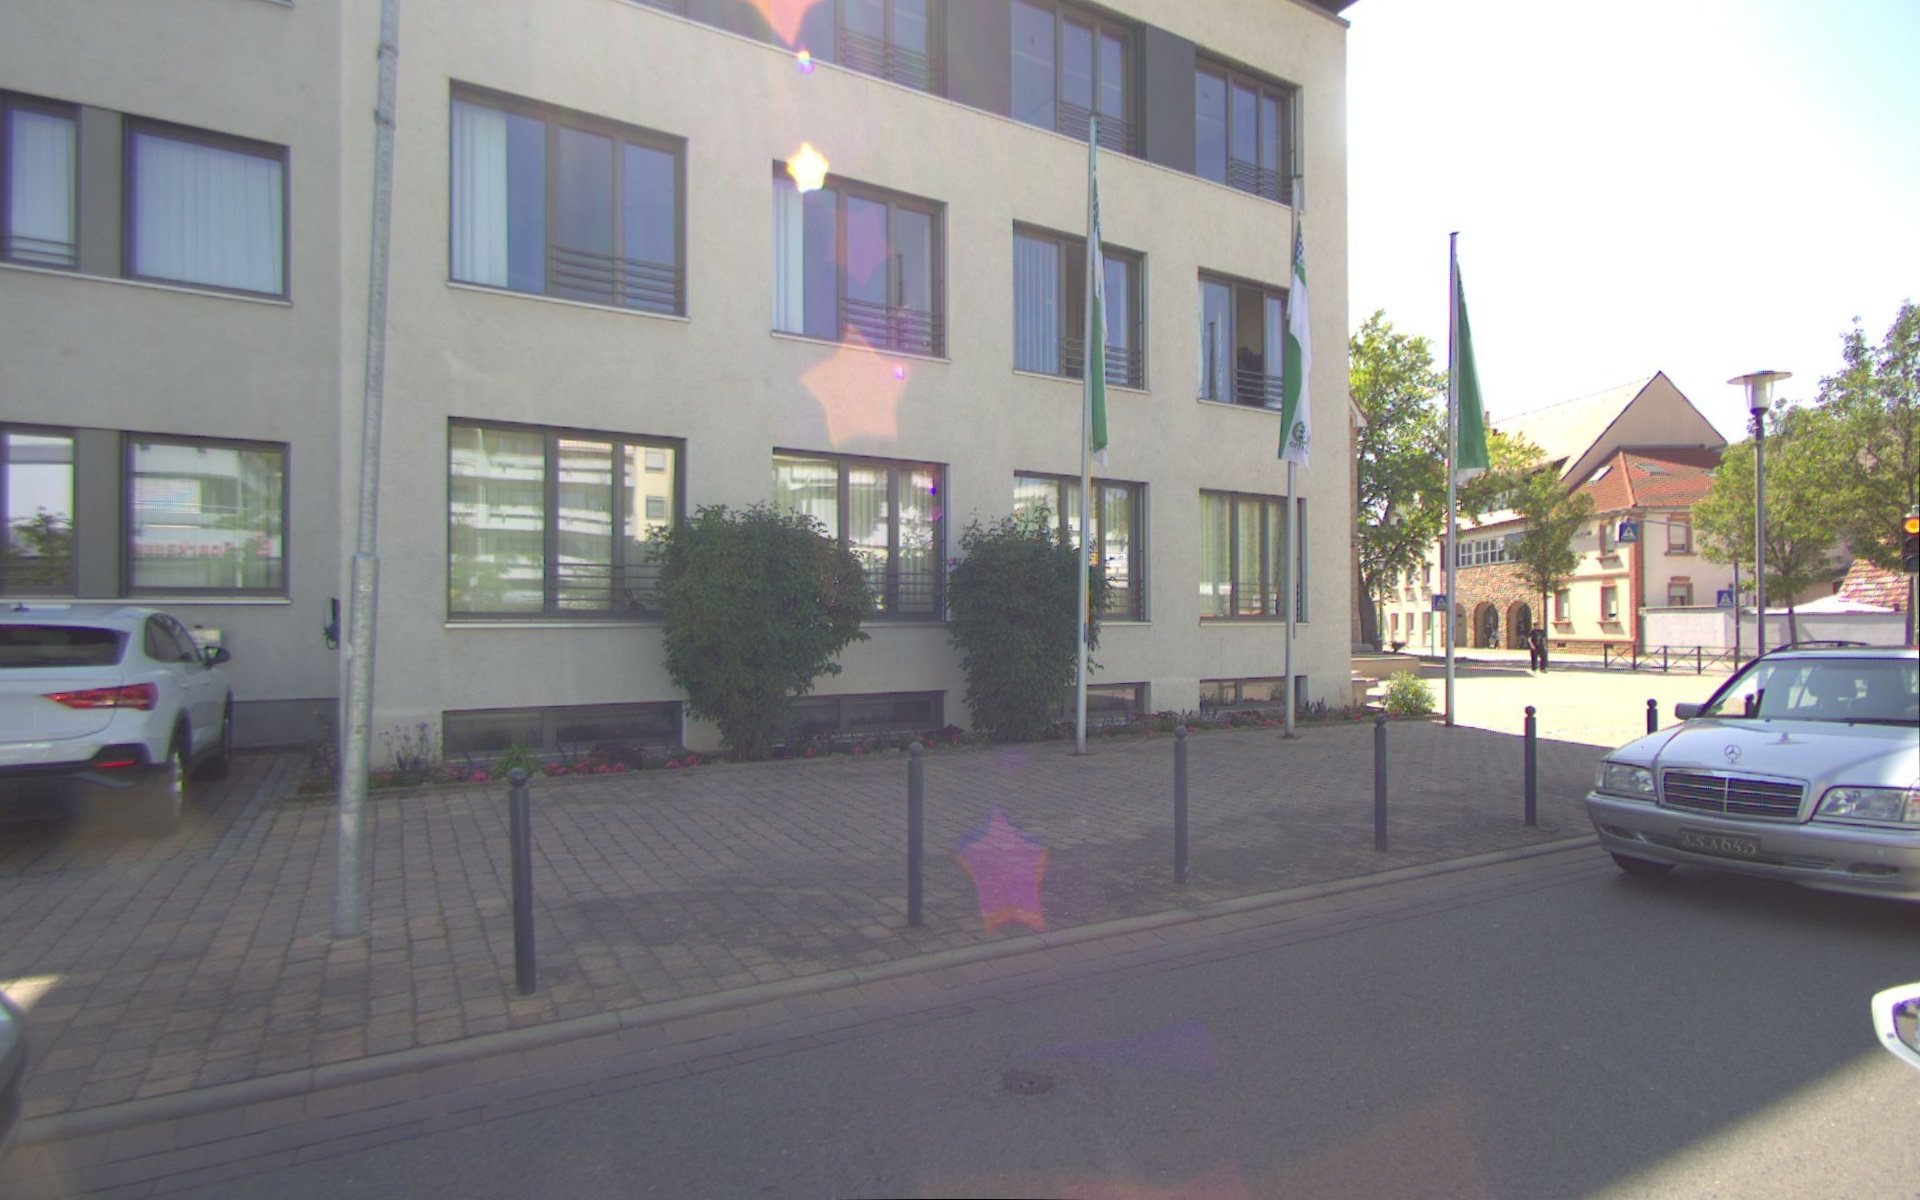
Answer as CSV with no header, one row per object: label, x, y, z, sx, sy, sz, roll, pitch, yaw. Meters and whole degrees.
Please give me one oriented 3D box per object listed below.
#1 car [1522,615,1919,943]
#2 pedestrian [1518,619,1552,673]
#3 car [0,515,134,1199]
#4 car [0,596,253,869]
car,5.785,0.925,6.453,4.386,1.483,1.871,2,-4,-31
pedestrian,18.194,1.446,31.773,0.798,1.676,0.851,0,-1,20
car,-3.453,0.627,0.861,3.953,1.594,1.842,1,-2,-31
car,-6.884,0.773,7.608,2.123,1.575,4.484,1,-1,-31
